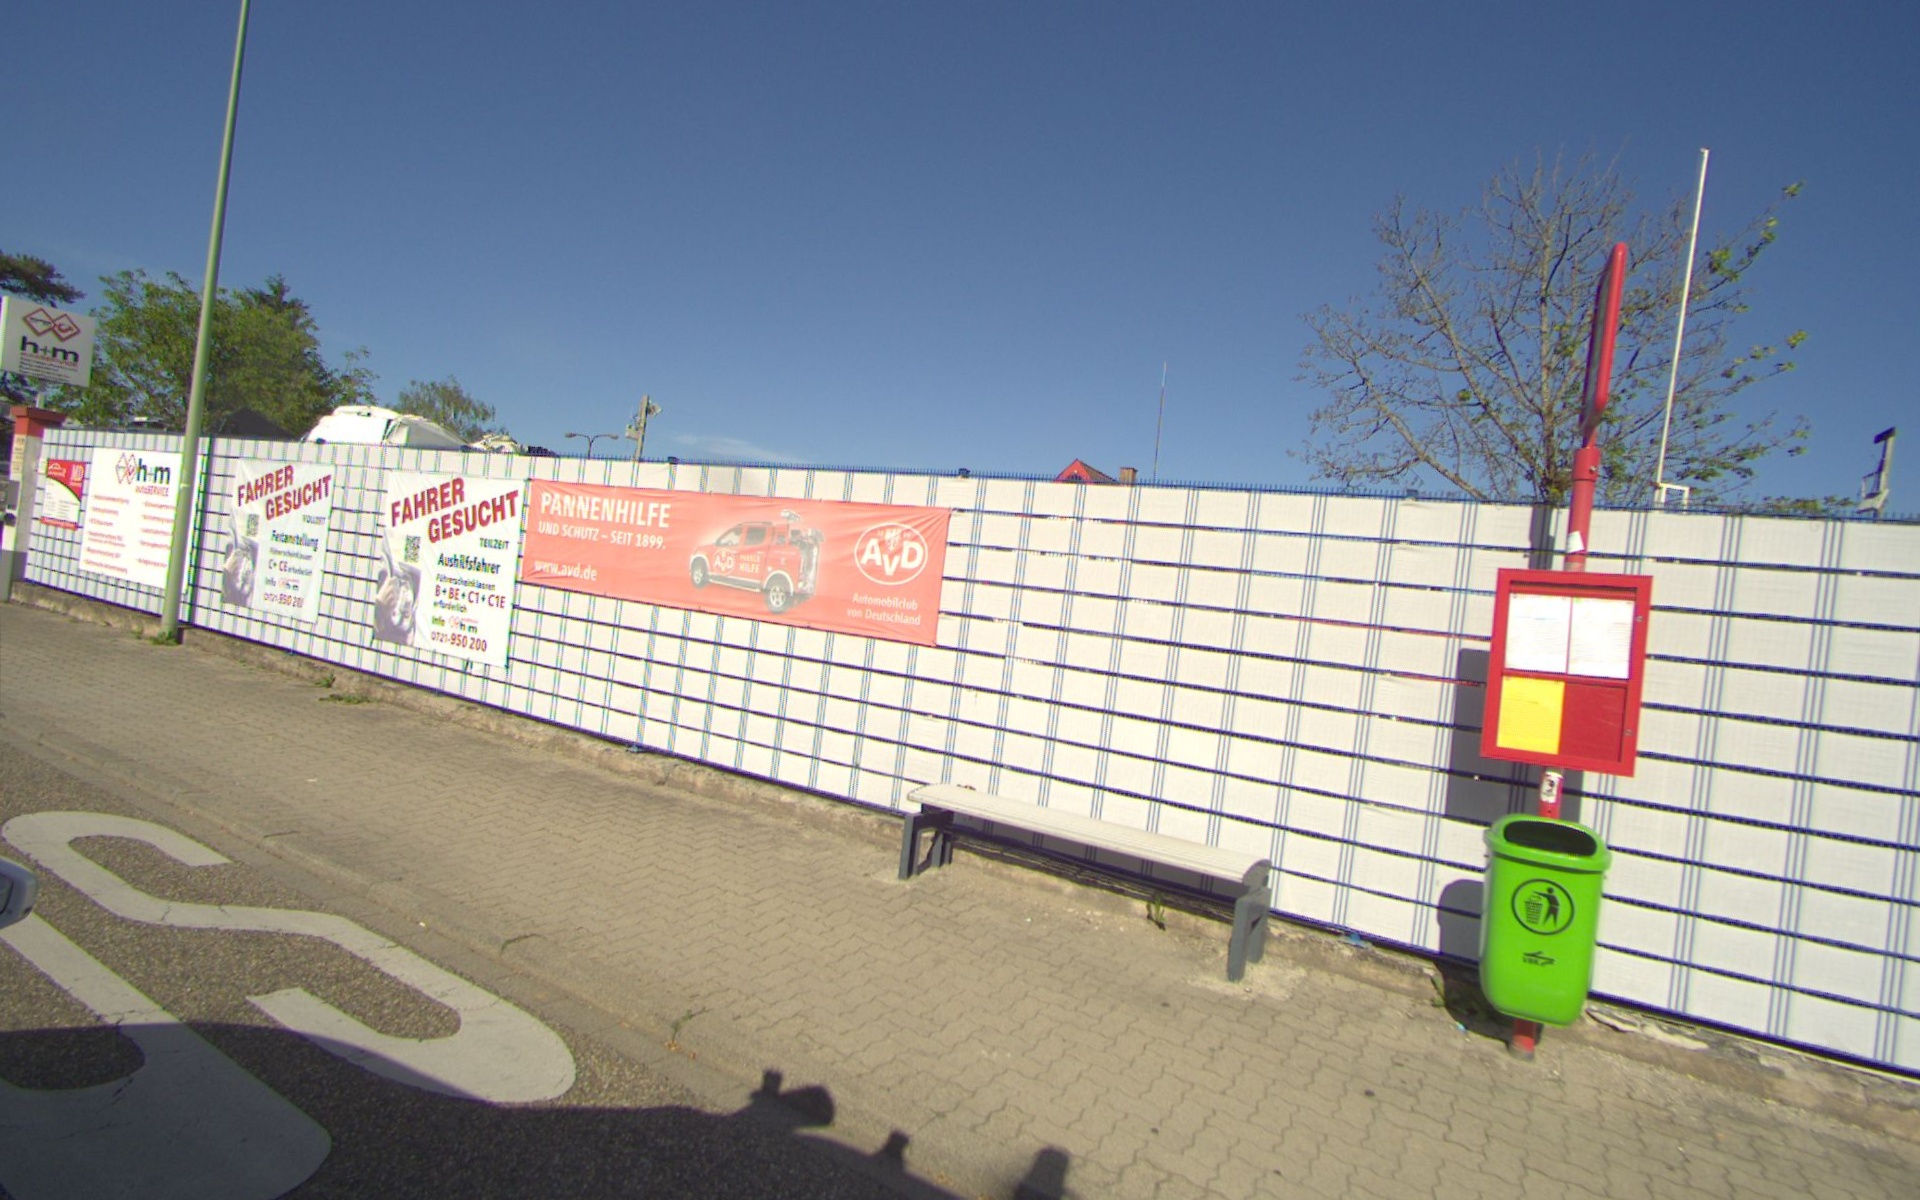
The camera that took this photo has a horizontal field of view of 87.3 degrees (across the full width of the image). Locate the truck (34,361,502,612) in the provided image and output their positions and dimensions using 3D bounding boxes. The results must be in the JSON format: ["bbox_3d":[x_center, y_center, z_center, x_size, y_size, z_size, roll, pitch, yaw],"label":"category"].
[{"bbox_3d":[-13.967,-2.055,21.195,2.783,3.815,7.392,7,-1,27],"label":"truck"}]
